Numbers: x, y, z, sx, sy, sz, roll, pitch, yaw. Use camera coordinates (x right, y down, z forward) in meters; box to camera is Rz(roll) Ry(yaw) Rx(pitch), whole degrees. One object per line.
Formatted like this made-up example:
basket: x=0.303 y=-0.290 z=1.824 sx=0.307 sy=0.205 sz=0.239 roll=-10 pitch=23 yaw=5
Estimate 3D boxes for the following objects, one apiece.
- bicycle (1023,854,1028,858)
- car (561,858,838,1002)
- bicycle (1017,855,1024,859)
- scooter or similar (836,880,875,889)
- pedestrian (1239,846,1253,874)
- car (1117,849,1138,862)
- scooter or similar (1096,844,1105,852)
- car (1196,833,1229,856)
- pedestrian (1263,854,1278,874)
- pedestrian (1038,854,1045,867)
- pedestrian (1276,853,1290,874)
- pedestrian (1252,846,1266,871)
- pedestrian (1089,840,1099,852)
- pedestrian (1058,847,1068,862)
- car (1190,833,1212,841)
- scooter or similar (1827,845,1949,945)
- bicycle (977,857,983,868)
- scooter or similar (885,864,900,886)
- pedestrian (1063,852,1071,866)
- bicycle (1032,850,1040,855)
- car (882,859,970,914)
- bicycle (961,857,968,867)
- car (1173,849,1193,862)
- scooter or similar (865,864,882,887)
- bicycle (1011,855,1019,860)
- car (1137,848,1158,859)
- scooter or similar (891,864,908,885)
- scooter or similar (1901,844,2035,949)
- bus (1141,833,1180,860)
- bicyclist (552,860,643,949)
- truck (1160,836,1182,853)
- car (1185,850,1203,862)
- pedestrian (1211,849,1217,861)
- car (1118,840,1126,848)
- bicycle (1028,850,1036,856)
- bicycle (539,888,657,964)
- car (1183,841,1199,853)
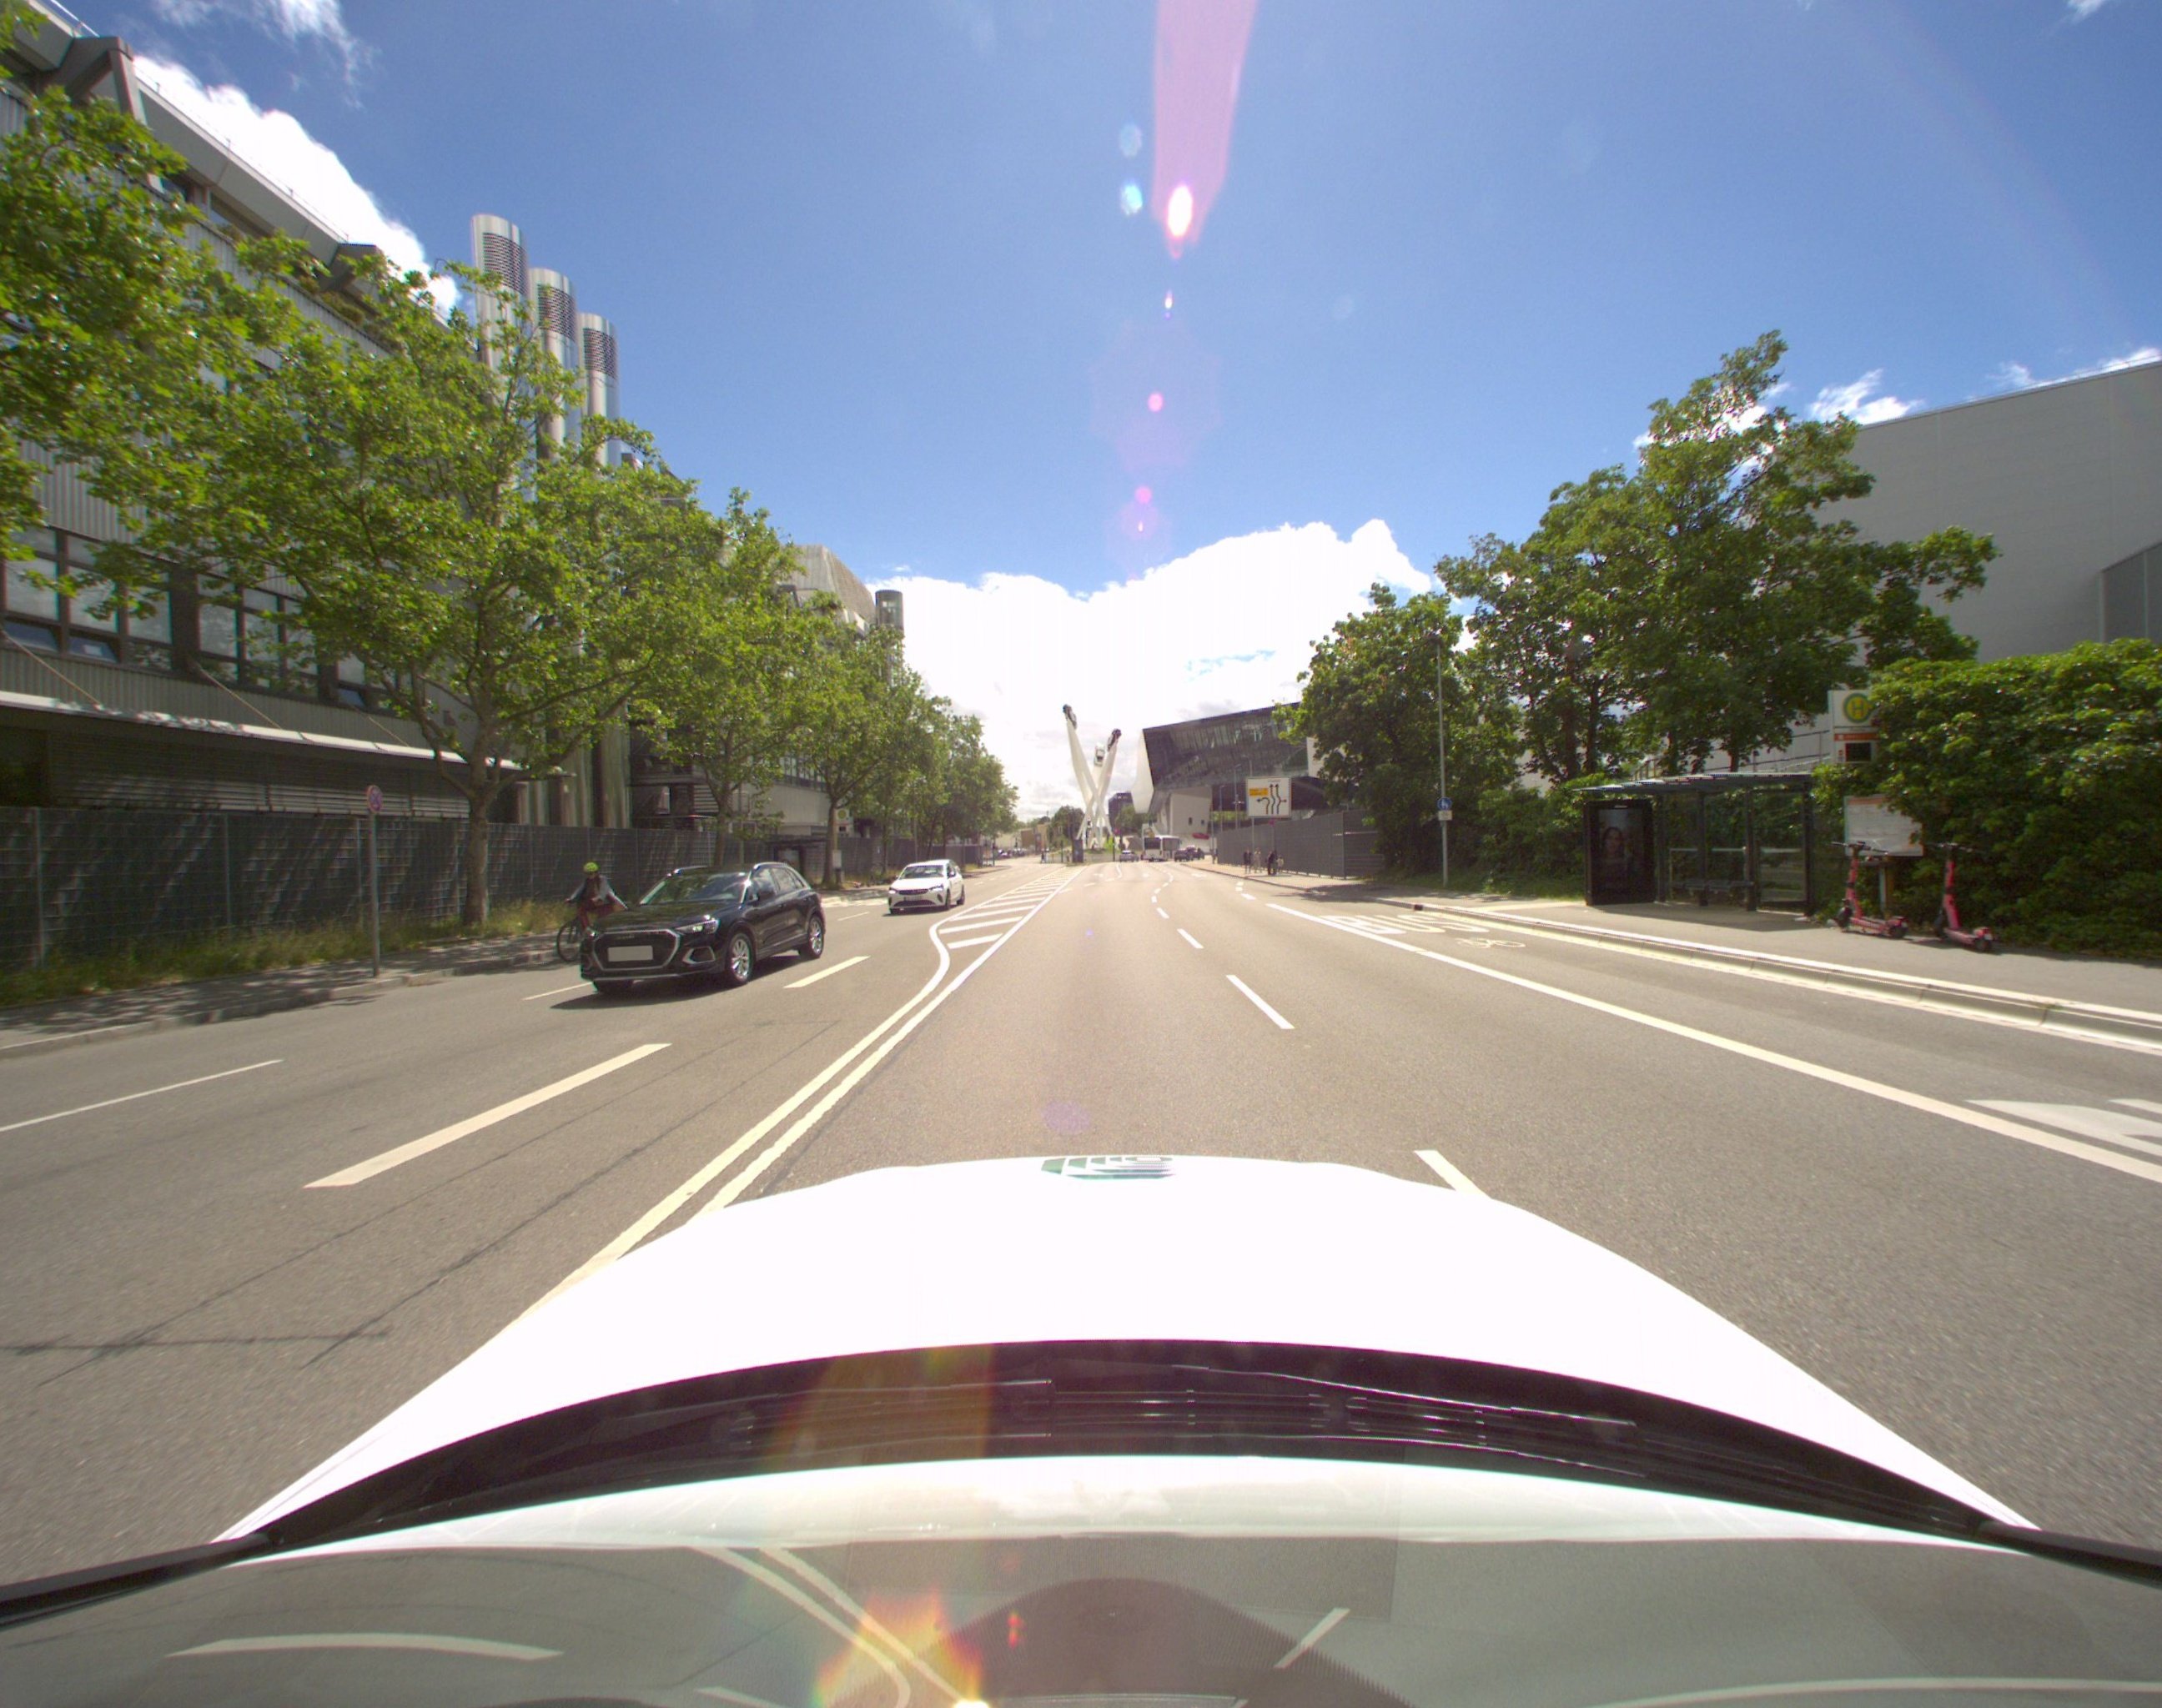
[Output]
bicycle: x=-12.016 y=0.445 z=175.776 sx=0.488 sy=0.866 sz=1.617 roll=-2 pitch=2 yaw=13
car: x=-5.124 y=0.897 z=11.691 sx=1.733 sy=1.581 sz=4.269 roll=-4 pitch=0 yaw=2
bicycle: x=-12.870 y=0.605 z=173.418 sx=0.486 sy=0.866 sz=1.621 roll=-1 pitch=4 yaw=30
scooter or similar: x=-12.147 y=1.618 z=43.851 sx=1.347 sy=0.380 sz=1.499 roll=2 pitch=1 yaw=37
pedestrian: x=10.520 y=0.389 z=51.896 sx=0.792 sy=1.721 sz=0.732 roll=0 pitch=-1 yaw=1
car: x=5.965 y=0.227 z=104.426 sx=1.979 sy=1.636 sz=4.016 roll=-1 pitch=-1 yaw=15
scooter or similar: x=3.026 y=-0.943 z=128.072 sx=1.396 sy=1.025 sz=0.550 roll=-4 pitch=6 yaw=-1
car: x=20.943 y=-1.399 z=129.354 sx=3.307 sy=3.504 sz=9.389 roll=-1 pitch=-1 yaw=21
pedestrian: x=11.242 y=0.601 z=48.405 sx=0.754 sy=1.148 sz=0.973 roll=0 pitch=-1 yaw=5
pedestrian: x=-5.351 y=0.915 z=110.752 sx=0.864 sy=1.774 sz=1.031 roll=0 pitch=-1 yaw=-12
pedestrian: x=12.028 y=0.559 z=48.568 sx=0.710 sy=1.207 sz=0.599 roll=0 pitch=-1 yaw=5
pedestrian: x=11.353 y=0.281 z=51.936 sx=0.792 sy=1.597 sz=0.732 roll=0 pitch=-1 yaw=1
pedestrian: x=2.041 y=-1.246 z=127.794 sx=1.278 sy=1.816 sz=0.987 roll=-5 pitch=4 yaw=-1
pedestrian: x=-2.413 y=0.046 z=109.474 sx=0.944 sy=2.055 sz=0.956 roll=-1 pitch=-1 yaw=21
car: x=26.712 y=-3.801 z=181.566 sx=2.011 sy=1.394 sz=4.461 roll=-6 pitch=10 yaw=-41
scooter or similar: x=10.556 y=0.485 z=10.737 sx=0.536 sy=1.163 sz=2.141 roll=-3 pitch=0 yaw=29
bicycle: x=-10.787 y=0.874 z=87.194 sx=0.295 sy=1.131 sz=1.487 roll=0 pitch=-1 yaw=5
scooter or similar: x=-11.356 y=1.244 z=49.060 sx=0.520 sy=1.234 sz=1.319 roll=2 pitch=1 yaw=4
pedestrian: x=-1.889 y=0.698 z=106.393 sx=0.864 sy=1.774 sz=1.031 roll=0 pitch=-1 yaw=-12
bicycle: x=-10.294 y=-0.356 z=187.595 sx=1.731 sy=1.182 sz=0.670 roll=0 pitch=1 yaw=0
car: x=-4.625 y=0.937 z=24.944 sx=1.685 sy=1.415 sz=4.147 roll=-3 pitch=0 yaw=2
bicycle: x=-11.585 y=0.762 z=80.780 sx=0.294 sy=1.006 sz=1.256 roll=-1 pitch=-1 yaw=12
car: x=13.016 y=0.177 z=103.567 sx=1.979 sy=1.636 sz=4.016 roll=-1 pitch=1 yaw=15
scooter or similar: x=-11.555 y=1.185 z=45.327 sx=0.521 sy=1.234 sz=1.318 roll=2 pitch=1 yaw=2
bicycle: x=-13.898 y=0.711 z=171.871 sx=0.486 sy=0.866 sz=1.621 roll=-1 pitch=2 yaw=42
car: x=9.709 y=-0.079 z=118.104 sx=1.977 sy=1.636 sz=4.020 roll=-1 pitch=-1 yaw=20
scooter or similar: x=-11.239 y=1.235 z=50.440 sx=0.520 sy=1.234 sz=1.321 roll=2 pitch=1 yaw=8
scooter or similar: x=10.856 y=0.476 z=10.036 sx=0.536 sy=1.163 sz=1.803 roll=-3 pitch=0 yaw=29
bus: x=10.748 y=-0.926 z=108.445 sx=3.048 sy=3.362 sz=12.274 roll=-1 pitch=-1 yaw=16
bicyclist: x=-9.301 y=0.936 z=15.724 sx=0.953 sy=1.598 sz=1.222 roll=-4 pitch=-1 yaw=-1
truck: x=14.350 y=-1.463 z=129.379 sx=2.188 sy=2.516 sz=5.159 roll=-1 pitch=-1 yaw=20
car: x=15.520 y=0.239 z=111.375 sx=1.979 sy=1.636 sz=4.016 roll=-1 pitch=-1 yaw=15
pedestrian: x=17.516 y=0.105 z=107.257 sx=0.655 sy=1.608 sz=0.826 roll=-1 pitch=-1 yaw=13
car: x=9.550 y=-2.357 z=189.646 sx=1.985 sy=1.635 sz=4.661 roll=0 pitch=2 yaw=4
bicycle: x=-10.772 y=-0.220 z=178.488 sx=1.600 sy=1.316 sz=0.493 roll=0 pitch=-1 yaw=1
bicycle: x=-9.216 y=1.325 z=15.676 sx=0.734 sy=1.234 sz=2.473 roll=-3 pitch=-1 yaw=0
car: x=17.722 y=-1.084 z=131.148 sx=1.979 sy=1.932 sz=4.257 roll=-1 pitch=-1 yaw=15
